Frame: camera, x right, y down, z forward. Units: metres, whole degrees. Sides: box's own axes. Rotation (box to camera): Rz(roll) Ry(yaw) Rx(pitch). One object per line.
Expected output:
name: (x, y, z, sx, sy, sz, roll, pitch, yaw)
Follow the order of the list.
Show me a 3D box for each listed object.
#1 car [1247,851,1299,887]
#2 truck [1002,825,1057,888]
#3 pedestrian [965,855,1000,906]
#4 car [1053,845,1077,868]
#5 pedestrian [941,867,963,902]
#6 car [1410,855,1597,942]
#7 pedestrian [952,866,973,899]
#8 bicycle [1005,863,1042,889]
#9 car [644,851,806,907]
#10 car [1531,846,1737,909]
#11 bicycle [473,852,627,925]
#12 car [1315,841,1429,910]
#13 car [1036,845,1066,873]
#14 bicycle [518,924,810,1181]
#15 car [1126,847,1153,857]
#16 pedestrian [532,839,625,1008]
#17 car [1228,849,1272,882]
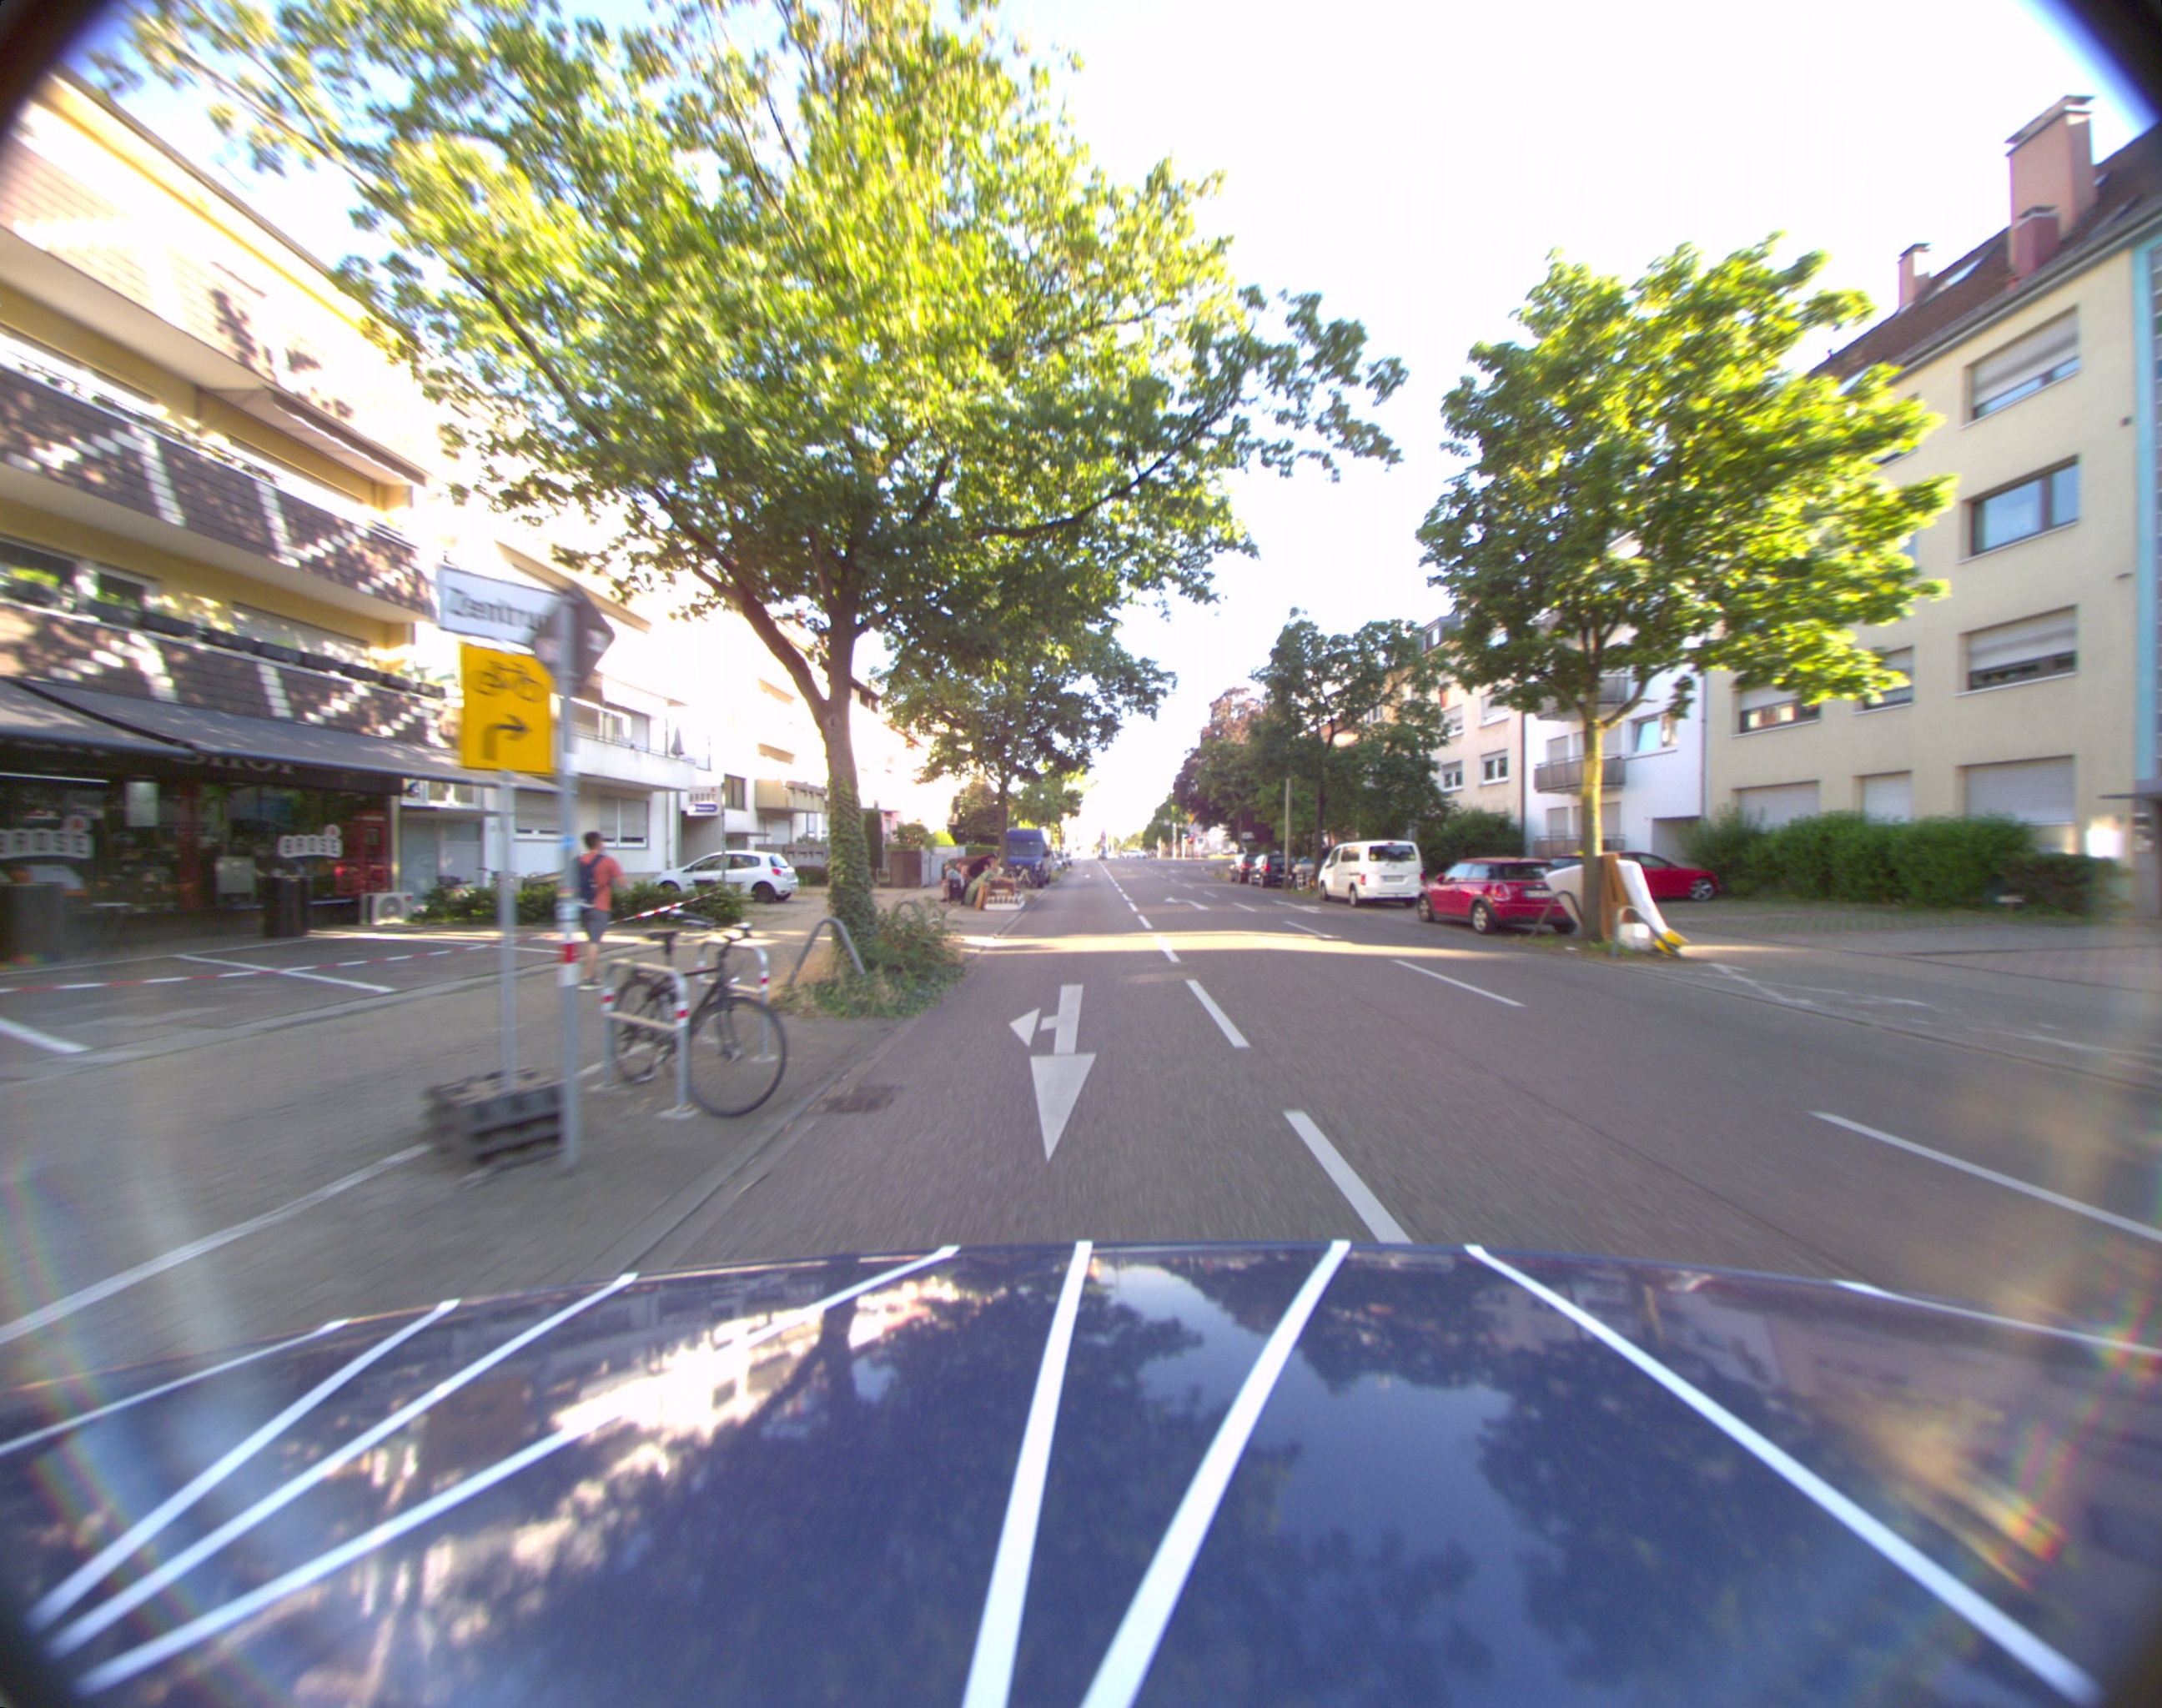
car: (8.331, 0.624, 33.242, 1.407, 1.397, 3.682, -2, 1, 2)
truck: (-2.235, 0.064, 34.437, 1.998, 2.629, 5.615, 0, 1, 1)
pedestrian: (-2.844, 0.755, 21.977, 0.917, 1.436, 0.811, 0, 1, -1)
car: (-1.244, 0.185, 60.583, 1.704, 1.740, 4.000, 0, 1, 2)
pedestrian: (-3.949, 0.928, 23.205, 0.553, 1.053, 0.532, 0, 1, 2)
car: (8.202, 0.788, 15.169, 1.740, 1.455, 3.636, 0, 1, 1)
pedestrian: (-3.815, 0.914, 24.432, 0.553, 1.053, 0.542, 0, 1, 1)
bicycle: (-2.346, 0.905, 31.245, 1.469, 1.058, 0.445, 0, 1, 1)
car: (-10.088, 0.693, 21.749, 3.878, 1.496, 1.575, 0, 1, -4)
car: (14.762, 0.586, 20.377, 4.563, 1.397, 1.739, -2, 1, -9)
bicycle: (-10.841, 0.685, 15.593, 2.459, 1.433, 0.928, 0, 1, -1)
car: (8.312, 0.545, 22.108, 1.740, 1.799, 4.191, 0, 1, 1)
car: (-1.991, 0.305, 50.830, 1.704, 1.740, 4.000, 0, 1, 2)
bicycle: (-2.578, 1.094, 4.638, 1.894, 1.155, 0.616, 2, 2, 28)
car: (9.661, -0.372, 125.183, 3.988, 1.576, 2.004, 0, 1, 38)
pedestrian: (-5.427, 0.732, 8.228, 0.619, 1.762, 0.562, 0, 0, 2)
car: (8.258, 0.532, 37.401, 1.407, 1.456, 3.682, -2, 1, 2)
